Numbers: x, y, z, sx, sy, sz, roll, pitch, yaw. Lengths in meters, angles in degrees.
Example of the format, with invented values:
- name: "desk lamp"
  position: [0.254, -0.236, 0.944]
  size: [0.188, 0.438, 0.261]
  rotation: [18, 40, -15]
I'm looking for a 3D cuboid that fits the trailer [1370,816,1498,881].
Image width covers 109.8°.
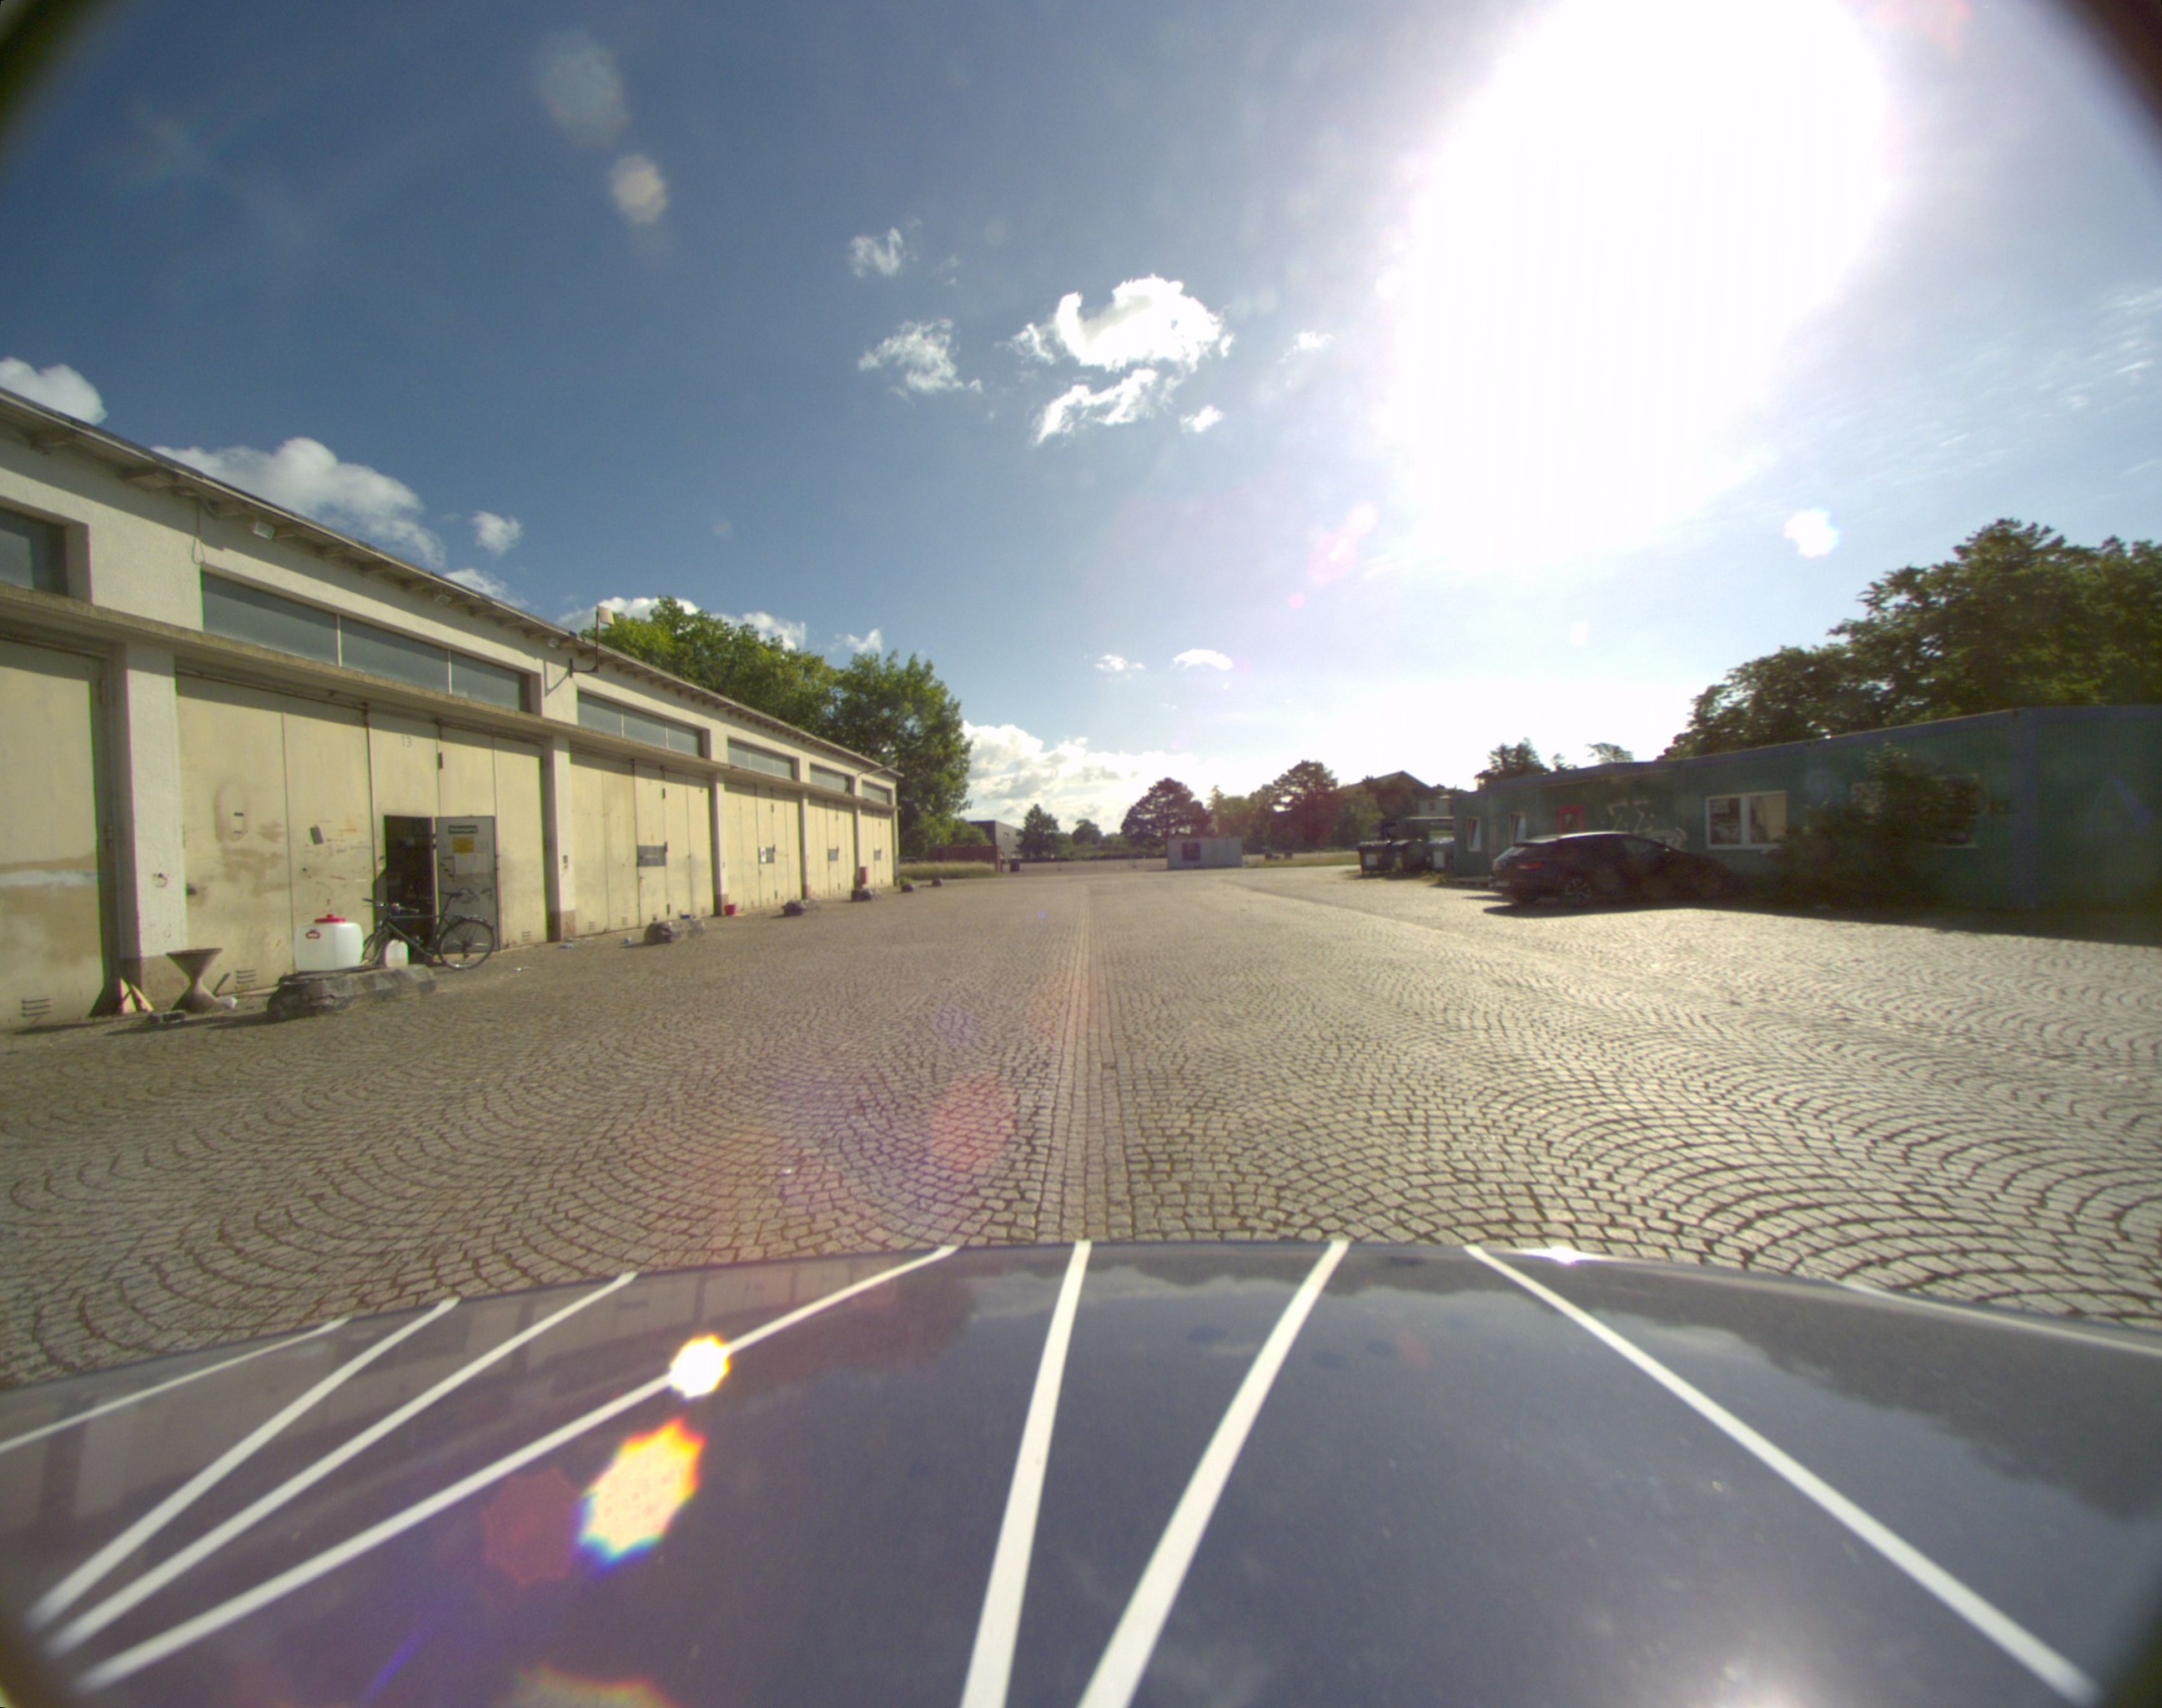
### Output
- name: "trailer"
  position: [15.353, -0.266, 33.177]
  size: [4.649, 2.553, 1.950]
  rotation: [-3, 1, -3]

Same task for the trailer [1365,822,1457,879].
- name: "trailer"
  position: [15.405, -0.166, 35.629]
  size: [3.393, 2.455, 2.044]
  rotation: [-2, 1, 1]

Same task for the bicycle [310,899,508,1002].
- name: "bicycle"
  position: [-8.590, 1.197, 9.837]
  size: [0.665, 1.062, 1.825]
  rotation: [-2, 1, 13]

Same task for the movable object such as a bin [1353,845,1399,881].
- name: "movable object such as a bin"
  position: [12.450, 0.383, 32.056]
  size: [1.434, 1.449, 1.158]
  rotation: [-1, 2, 43]

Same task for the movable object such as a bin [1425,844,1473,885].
- name: "movable object such as a bin"
  position: [13.666, 0.358, 28.257]
  size: [0.885, 1.449, 1.439]
  rotation: [-3, 1, -10]

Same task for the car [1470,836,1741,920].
- name: "car"
  position: [10.659, 0.443, 15.682]
  size: [4.263, 1.441, 1.931]
  rotation: [-3, 1, -1]

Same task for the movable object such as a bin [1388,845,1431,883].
- name: "movable object such as a bin"
  position: [12.928, 0.379, 29.941]
  size: [1.020, 1.449, 1.440]
  rotation: [-2, 1, 0]
